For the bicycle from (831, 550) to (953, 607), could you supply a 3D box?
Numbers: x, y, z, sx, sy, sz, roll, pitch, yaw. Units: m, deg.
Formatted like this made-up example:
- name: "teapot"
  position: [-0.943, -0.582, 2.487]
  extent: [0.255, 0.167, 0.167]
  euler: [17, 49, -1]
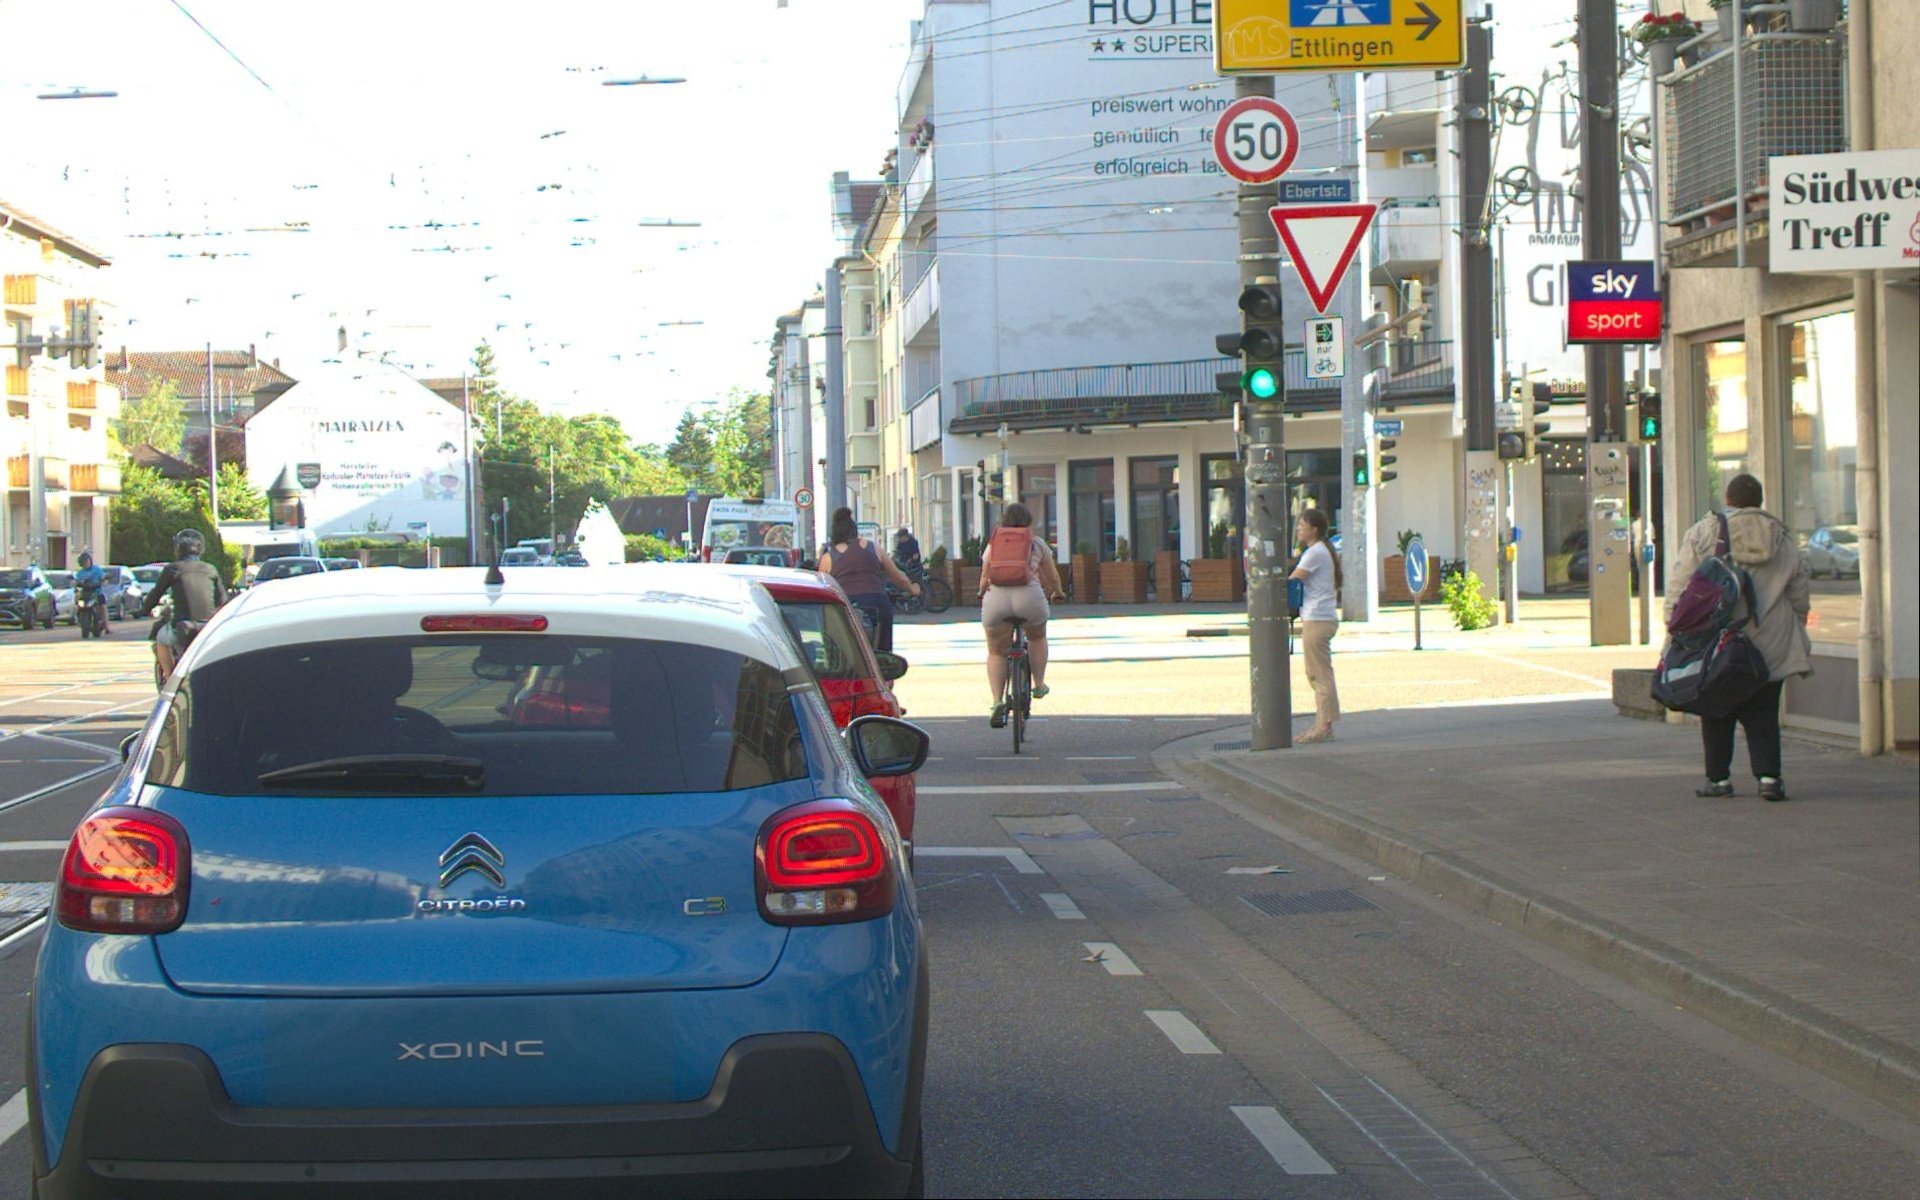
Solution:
- name: "bicycle"
  position: [-1.307, -0.417, 65.819]
  extent: [2.251, 0.998, 0.856]
  euler: [-3, 1, -5]

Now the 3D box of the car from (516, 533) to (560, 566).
- name: "car"
  position: [-23.062, -2.763, 187.842]
  extent: [2.074, 1.756, 5.037]
  euler: [1, 1, -4]

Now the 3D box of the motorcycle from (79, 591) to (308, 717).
- name: "motorcycle"
  position: [-6.759, 0.462, 30.292]
  extent: [1.939, 1.043, 0.856]
  euler: [1, 1, 33]

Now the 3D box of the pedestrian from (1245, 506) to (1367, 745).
- name: "pedestrian"
  position: [2.432, 0.174, 24.124]
  extent: [0.540, 1.618, 0.732]
  euler: [-5, -1, 21]

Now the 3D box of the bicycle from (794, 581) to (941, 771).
- name: "bicycle"
  position: [-0.637, 0.493, 23.505]
  extent: [0.940, 1.219, 2.095]
  euler: [1, 1, -2]

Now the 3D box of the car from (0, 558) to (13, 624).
- name: "car"
  position: [-23.176, -0.216, 79.270]
  extent: [1.741, 1.521, 4.230]
  euler: [1, 1, -4]

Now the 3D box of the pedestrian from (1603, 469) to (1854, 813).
- name: "pedestrian"
  position: [3.737, 0.183, 16.772]
  extent: [0.884, 1.586, 0.811]
  euler: [-4, 2, -8]

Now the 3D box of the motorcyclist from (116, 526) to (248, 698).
- name: "motorcyclist"
  position: [-6.872, 0.101, 30.365]
  extent: [0.728, 1.483, 0.856]
  euler: [1, 0, 33]

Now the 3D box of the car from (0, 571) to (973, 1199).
- name: "car"
  position: [-1.138, 0.668, 7.747]
  extent: [1.736, 1.447, 3.663]
  euler: [0, 1, -10]

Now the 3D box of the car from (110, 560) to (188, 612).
- name: "car"
  position: [-25.408, -0.461, 107.796]
  extent: [1.869, 1.571, 4.001]
  euler: [1, 1, -6]

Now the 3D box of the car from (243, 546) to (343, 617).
- name: "car"
  position: [-14.811, -0.423, 76.480]
  extent: [1.778, 1.481, 3.829]
  euler: [-2, 1, -5]

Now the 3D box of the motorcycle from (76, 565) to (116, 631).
- name: "motorcycle"
  position: [-16.635, -0.033, 66.189]
  extent: [0.711, 1.216, 1.966]
  euler: [-1, -1, -14]

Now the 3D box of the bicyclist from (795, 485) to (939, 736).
- name: "bicyclist"
  position: [-0.638, 0.068, 23.555]
  extent: [0.940, 1.667, 1.079]
  euler: [1, 0, -2]

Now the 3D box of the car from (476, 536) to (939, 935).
- name: "car"
  position: [-1.154, 0.502, 15.309]
  extent: [1.784, 1.516, 3.763]
  euler: [1, 1, -5]

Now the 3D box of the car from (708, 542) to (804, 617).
- name: "car"
  position: [-4.049, -0.416, 67.791]
  extent: [1.657, 1.426, 3.889]
  euler: [1, 1, -7]

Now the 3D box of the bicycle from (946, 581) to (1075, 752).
- name: "bicycle"
  position: [0.385, 0.458, 25.056]
  extent: [0.811, 1.177, 2.064]
  euler: [1, 1, 4]

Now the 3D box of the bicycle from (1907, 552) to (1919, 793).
- name: "bicycle"
  position: [4.895, 0.349, 15.773]
  extent: [0.496, 1.157, 1.777]
  euler: [-1, 0, -3]

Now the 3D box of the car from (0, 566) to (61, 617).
- name: "car"
  position: [-23.861, -0.229, 85.929]
  extent: [1.946, 1.235, 4.283]
  euler: [1, 1, -5]

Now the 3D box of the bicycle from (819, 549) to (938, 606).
- name: "bicycle"
  position: [-1.598, -0.443, 67.186]
  extent: [2.251, 0.998, 0.856]
  euler: [-3, 1, -5]

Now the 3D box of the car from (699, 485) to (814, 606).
- name: "car"
  position: [-4.349, -1.153, 72.831]
  extent: [2.265, 2.473, 5.009]
  euler: [0, 1, -5]

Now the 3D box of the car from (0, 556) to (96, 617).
- name: "car"
  position: [-24.396, -0.370, 92.085]
  extent: [1.869, 1.571, 4.001]
  euler: [1, 1, -6]

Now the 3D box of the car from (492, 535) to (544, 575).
- name: "car"
  position: [-21.840, -2.227, 169.972]
  extent: [2.218, 1.925, 4.950]
  euler: [1, 1, -4]

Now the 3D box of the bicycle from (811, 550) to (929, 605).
- name: "bicycle"
  position: [-1.801, -0.450, 68.298]
  extent: [2.251, 0.998, 0.856]
  euler: [-3, 1, -5]

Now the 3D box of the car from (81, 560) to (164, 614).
- name: "car"
  position: [-25.001, -0.404, 102.700]
  extent: [1.869, 1.571, 4.001]
  euler: [1, 1, -6]

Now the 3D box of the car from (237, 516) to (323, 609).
- name: "car"
  position: [-23.569, -1.309, 119.220]
  extent: [2.417, 3.131, 3.489]
  euler: [1, 0, -3]

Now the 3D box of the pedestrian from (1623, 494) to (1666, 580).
- name: "pedestrian"
  position: [12.835, -1.174, 64.422]
  extent: [0.610, 1.603, 0.668]
  euler: [1, 0, 27]

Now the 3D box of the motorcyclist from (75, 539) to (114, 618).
- name: "motorcyclist"
  position: [-16.662, -0.414, 66.191]
  extent: [0.693, 1.491, 0.684]
  euler: [-1, -1, -14]

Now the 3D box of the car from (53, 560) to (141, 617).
- name: "car"
  position: [-24.609, -0.354, 98.146]
  extent: [1.869, 1.571, 4.001]
  euler: [1, 1, -6]

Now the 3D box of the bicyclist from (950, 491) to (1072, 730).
- name: "bicyclist"
  position: [0.375, 0.067, 24.887]
  extent: [0.811, 1.686, 0.935]
  euler: [1, 0, 4]

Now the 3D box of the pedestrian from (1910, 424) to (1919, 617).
- name: "pedestrian"
  position: [5.802, -0.457, 19.240]
  extent: [0.623, 1.084, 0.679]
  euler: [-3, 2, -37]
